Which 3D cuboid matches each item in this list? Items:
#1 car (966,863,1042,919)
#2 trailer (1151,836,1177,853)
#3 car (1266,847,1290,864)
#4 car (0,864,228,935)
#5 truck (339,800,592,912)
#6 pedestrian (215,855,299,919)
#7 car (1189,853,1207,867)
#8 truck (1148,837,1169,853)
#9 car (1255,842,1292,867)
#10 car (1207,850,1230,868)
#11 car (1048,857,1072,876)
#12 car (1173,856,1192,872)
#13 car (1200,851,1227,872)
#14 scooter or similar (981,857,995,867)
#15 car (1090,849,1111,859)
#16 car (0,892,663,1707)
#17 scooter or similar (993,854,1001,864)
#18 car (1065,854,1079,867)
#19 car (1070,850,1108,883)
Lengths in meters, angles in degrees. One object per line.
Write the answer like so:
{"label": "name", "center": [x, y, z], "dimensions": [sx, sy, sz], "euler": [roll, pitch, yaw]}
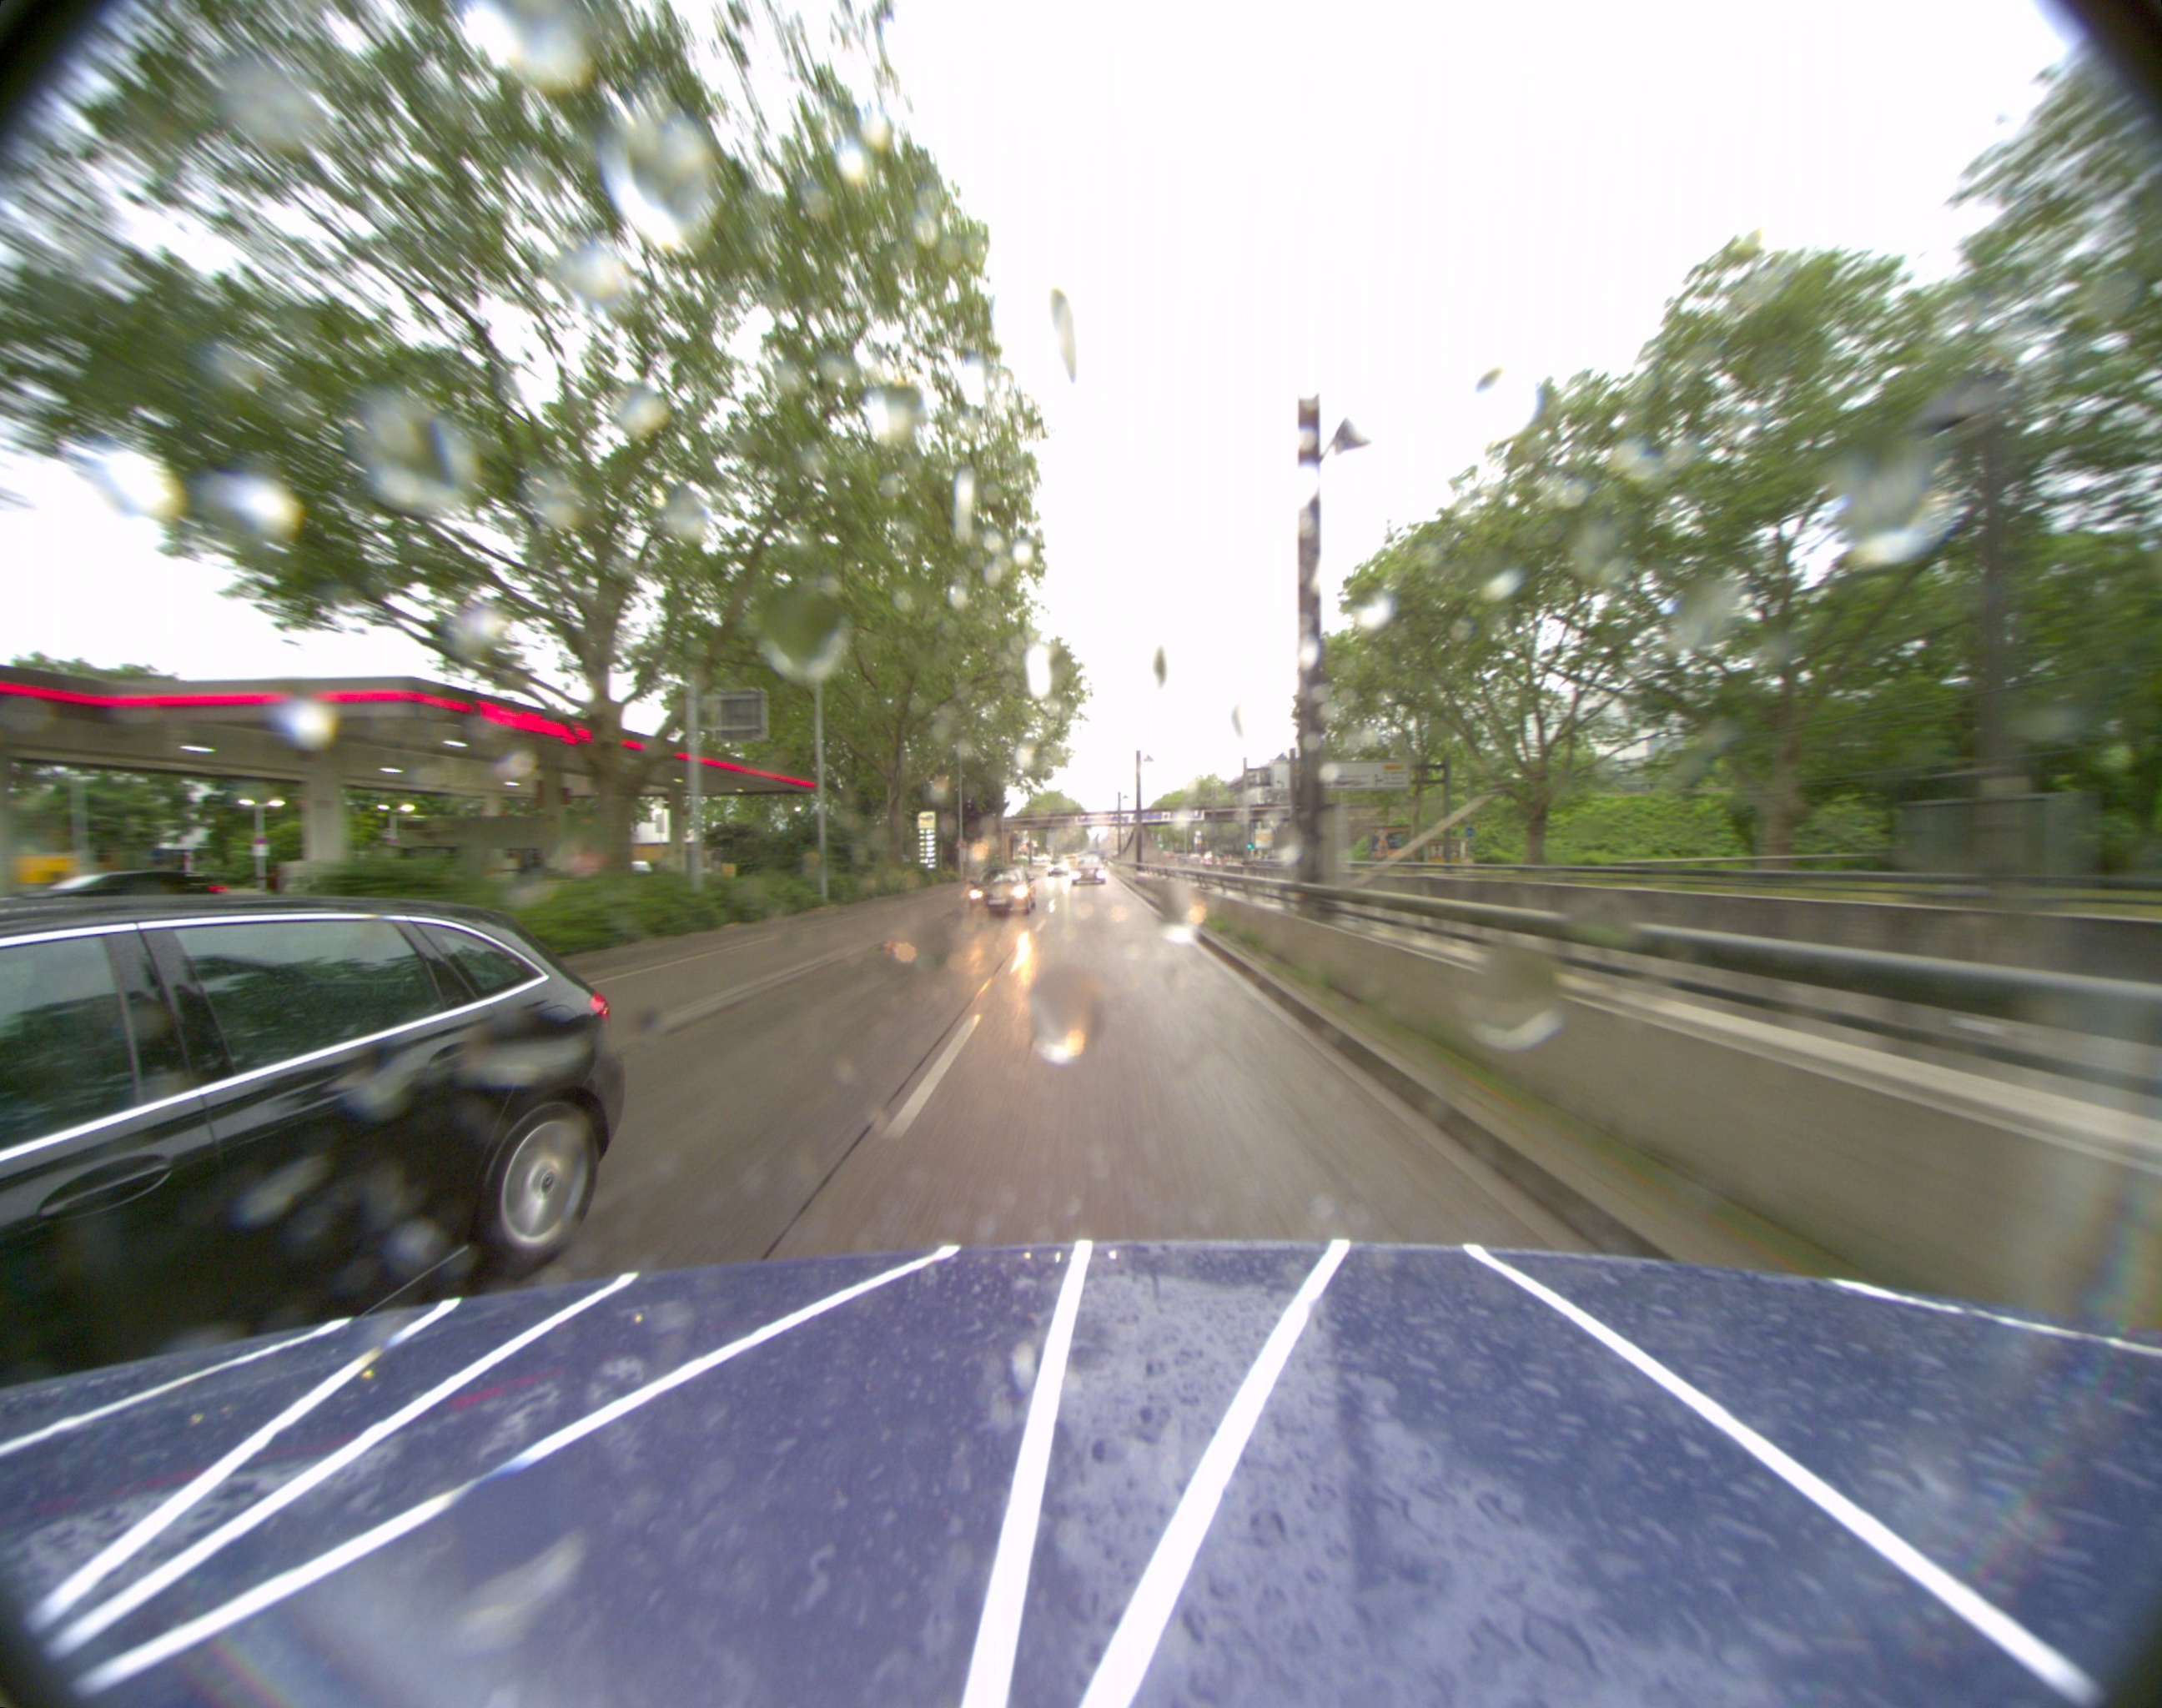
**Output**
{"label": "car", "center": [-2.209, 1.046, 22.682], "dimensions": [1.641, 1.377, 3.782], "euler": [-2, 1, 3]}
{"label": "trailer", "center": [17.013, -1.919, 157.384], "dimensions": [3.331, 3.241, 11.118], "euler": [-3, 0, -4]}
{"label": "car", "center": [25.792, 0.165, 99.796], "dimensions": [1.998, 2.002, 4.196], "euler": [-3, 0, 1]}
{"label": "car", "center": [-26.078, 1.147, 20.417], "dimensions": [1.833, 1.583, 3.879], "euler": [-3, 0, 1]}
{"label": "truck", "center": [-21.528, 0.047, 27.389], "dimensions": [2.701, 3.332, 7.768], "euler": [-3, 0, -1]}
{"label": "pedestrian", "center": [-23.831, 0.930, 21.997], "dimensions": [1.224, 1.783, 1.064], "euler": [-1, 1, 3]}
{"label": "car", "center": [17.222, 0.876, 111.910], "dimensions": [1.998, 2.002, 4.510], "euler": [-3, 0, 1]}
{"label": "truck", "center": [16.688, -1.936, 163.941], "dimensions": [3.384, 3.290, 6.521], "euler": [-3, 0, -4]}
{"label": "car", "center": [16.484, 0.019, 65.438], "dimensions": [1.998, 2.002, 4.510], "euler": [-3, 0, 1]}
{"label": "car", "center": [16.779, 0.570, 92.797], "dimensions": [1.998, 2.002, 4.000], "euler": [-3, 0, 1]}
{"label": "car", "center": [-1.730, 1.077, 64.726], "dimensions": [1.821, 1.520, 4.159], "euler": [-1, 0, 1]}
{"label": "car", "center": [13.746, 1.346, 102.977], "dimensions": [1.998, 2.002, 4.000], "euler": [-3, 0, 1]}
{"label": "car", "center": [13.720, 0.740, 79.019], "dimensions": [1.998, 2.002, 4.616], "euler": [-3, 0, 1]}
{"label": "scooter or similar", "center": [-10.803, 0.925, 88.056], "dimensions": [0.452, 1.004, 1.742], "euler": [-2, 1, 38]}
{"label": "car", "center": [3.497, 0.037, 134.325], "dimensions": [2.126, 1.689, 4.150], "euler": [-1, 0, -24]}
{"label": "car", "center": [-2.936, 1.018, 1.509], "dimensions": [1.821, 1.521, 4.420], "euler": [-3, 1, -2]}
{"label": "scooter or similar", "center": [-9.961, 0.568, 89.768], "dimensions": [0.453, 1.152, 1.828], "euler": [-3, 1, 8]}
{"label": "car", "center": [-1.192, 0.834, 103.342], "dimensions": [1.869, 1.689, 4.425], "euler": [-1, 0, 0]}
{"label": "car", "center": [0.508, 0.699, 44.020], "dimensions": [1.974, 1.794, 4.160], "euler": [-2, 0, 3]}
